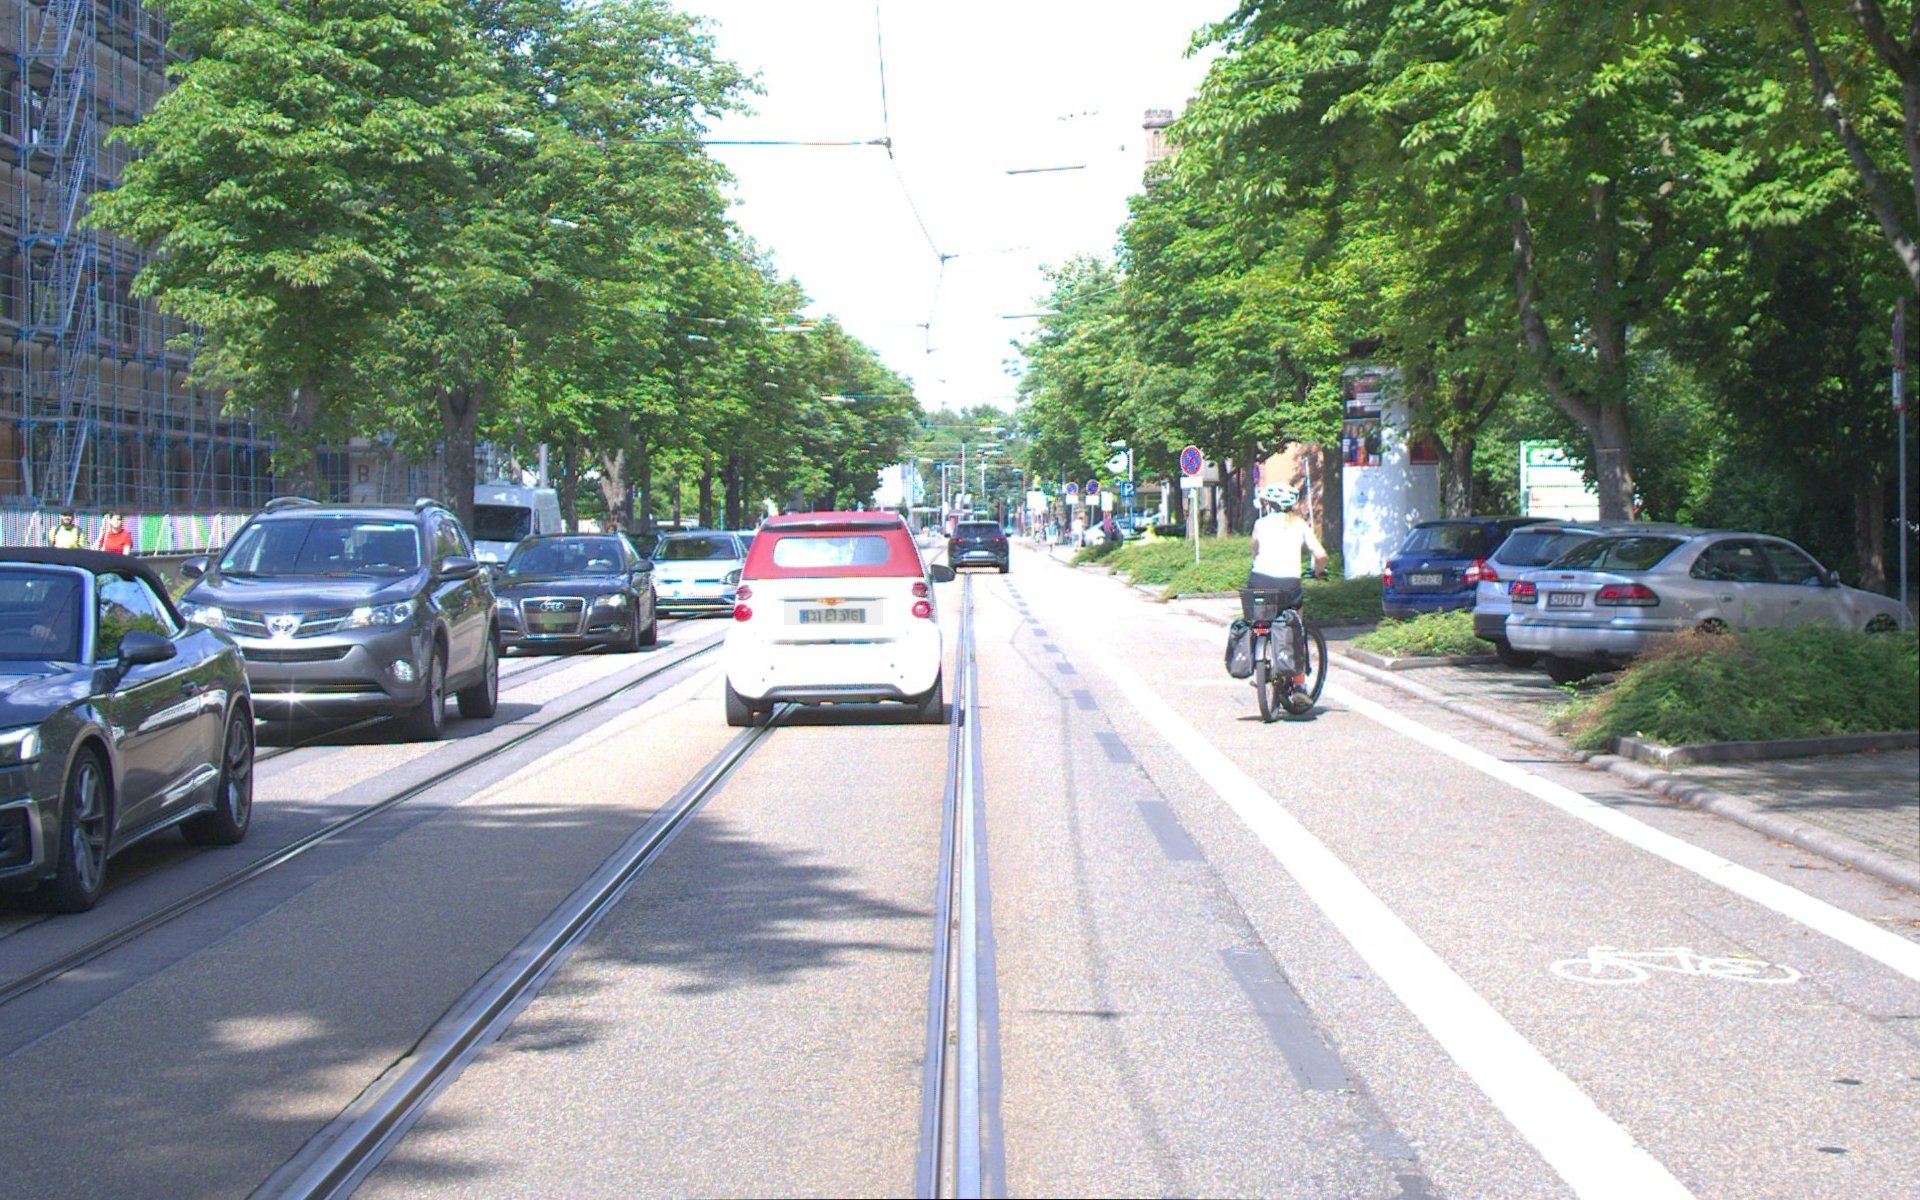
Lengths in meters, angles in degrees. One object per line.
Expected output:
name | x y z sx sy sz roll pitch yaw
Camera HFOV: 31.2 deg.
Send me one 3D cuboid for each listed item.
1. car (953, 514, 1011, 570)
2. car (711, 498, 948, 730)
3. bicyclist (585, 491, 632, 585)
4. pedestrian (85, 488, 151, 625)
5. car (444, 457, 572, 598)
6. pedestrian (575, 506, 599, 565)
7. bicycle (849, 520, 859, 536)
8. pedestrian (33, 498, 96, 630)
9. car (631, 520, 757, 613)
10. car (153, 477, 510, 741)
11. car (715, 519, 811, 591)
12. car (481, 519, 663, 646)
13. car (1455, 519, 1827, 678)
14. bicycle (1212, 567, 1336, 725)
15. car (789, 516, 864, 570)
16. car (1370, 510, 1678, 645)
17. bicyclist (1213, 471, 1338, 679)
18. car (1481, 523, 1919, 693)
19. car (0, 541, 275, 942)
car | 0.638 -1.719 101.529 1.665 1.619 3.621 -1 1 0
car | -0.936 0.047 25.998 1.665 1.619 3.621 0 2 0
bicyclist | -7.673 -1.349 75.094 0.876 2.007 0.834 -2 0 -1
pedestrian | -11.599 -0.604 47.363 0.707 1.825 0.662 3 3 -5
car | -8.957 -1.441 68.505 1.769 2.630 5.323 -2 1 0
pedestrian | -12.717 -2.205 117.277 0.802 2.007 0.485 0 1 -8
bicycle | -6.326 -4.301 204.652 0.618 0.970 1.717 0 1 -2
pedestrian | -12.323 -0.500 47.340 0.707 1.787 0.662 1 1 -5
car | -4.348 -0.573 56.638 1.773 1.411 3.852 -2 1 -1
car | -4.409 0.017 24.745 1.825 1.721 4.392 0 1 -1
car | -3.976 -0.931 70.021 1.686 1.400 4.227 0 1 0
car | -4.553 -0.238 40.794 1.723 1.371 4.000 -2 1 -1
car | 6.882 -0.044 34.568 3.794 1.469 1.652 -1 3 -41
bicycle | 2.401 0.324 26.148 0.875 1.122 2.135 1 1 6
car | -3.795 -1.627 98.176 1.800 1.503 4.536 0 1 2
car | 6.809 -0.290 41.279 1.615 1.481 3.990 0 2 45
bicyclist | 2.402 -0.192 26.055 0.890 1.523 1.085 1 1 6
car | 6.886 0.029 31.457 4.230 1.415 1.723 -1 3 -38
car | -4.213 0.476 14.419 1.799 1.383 4.426 -1 1 0
